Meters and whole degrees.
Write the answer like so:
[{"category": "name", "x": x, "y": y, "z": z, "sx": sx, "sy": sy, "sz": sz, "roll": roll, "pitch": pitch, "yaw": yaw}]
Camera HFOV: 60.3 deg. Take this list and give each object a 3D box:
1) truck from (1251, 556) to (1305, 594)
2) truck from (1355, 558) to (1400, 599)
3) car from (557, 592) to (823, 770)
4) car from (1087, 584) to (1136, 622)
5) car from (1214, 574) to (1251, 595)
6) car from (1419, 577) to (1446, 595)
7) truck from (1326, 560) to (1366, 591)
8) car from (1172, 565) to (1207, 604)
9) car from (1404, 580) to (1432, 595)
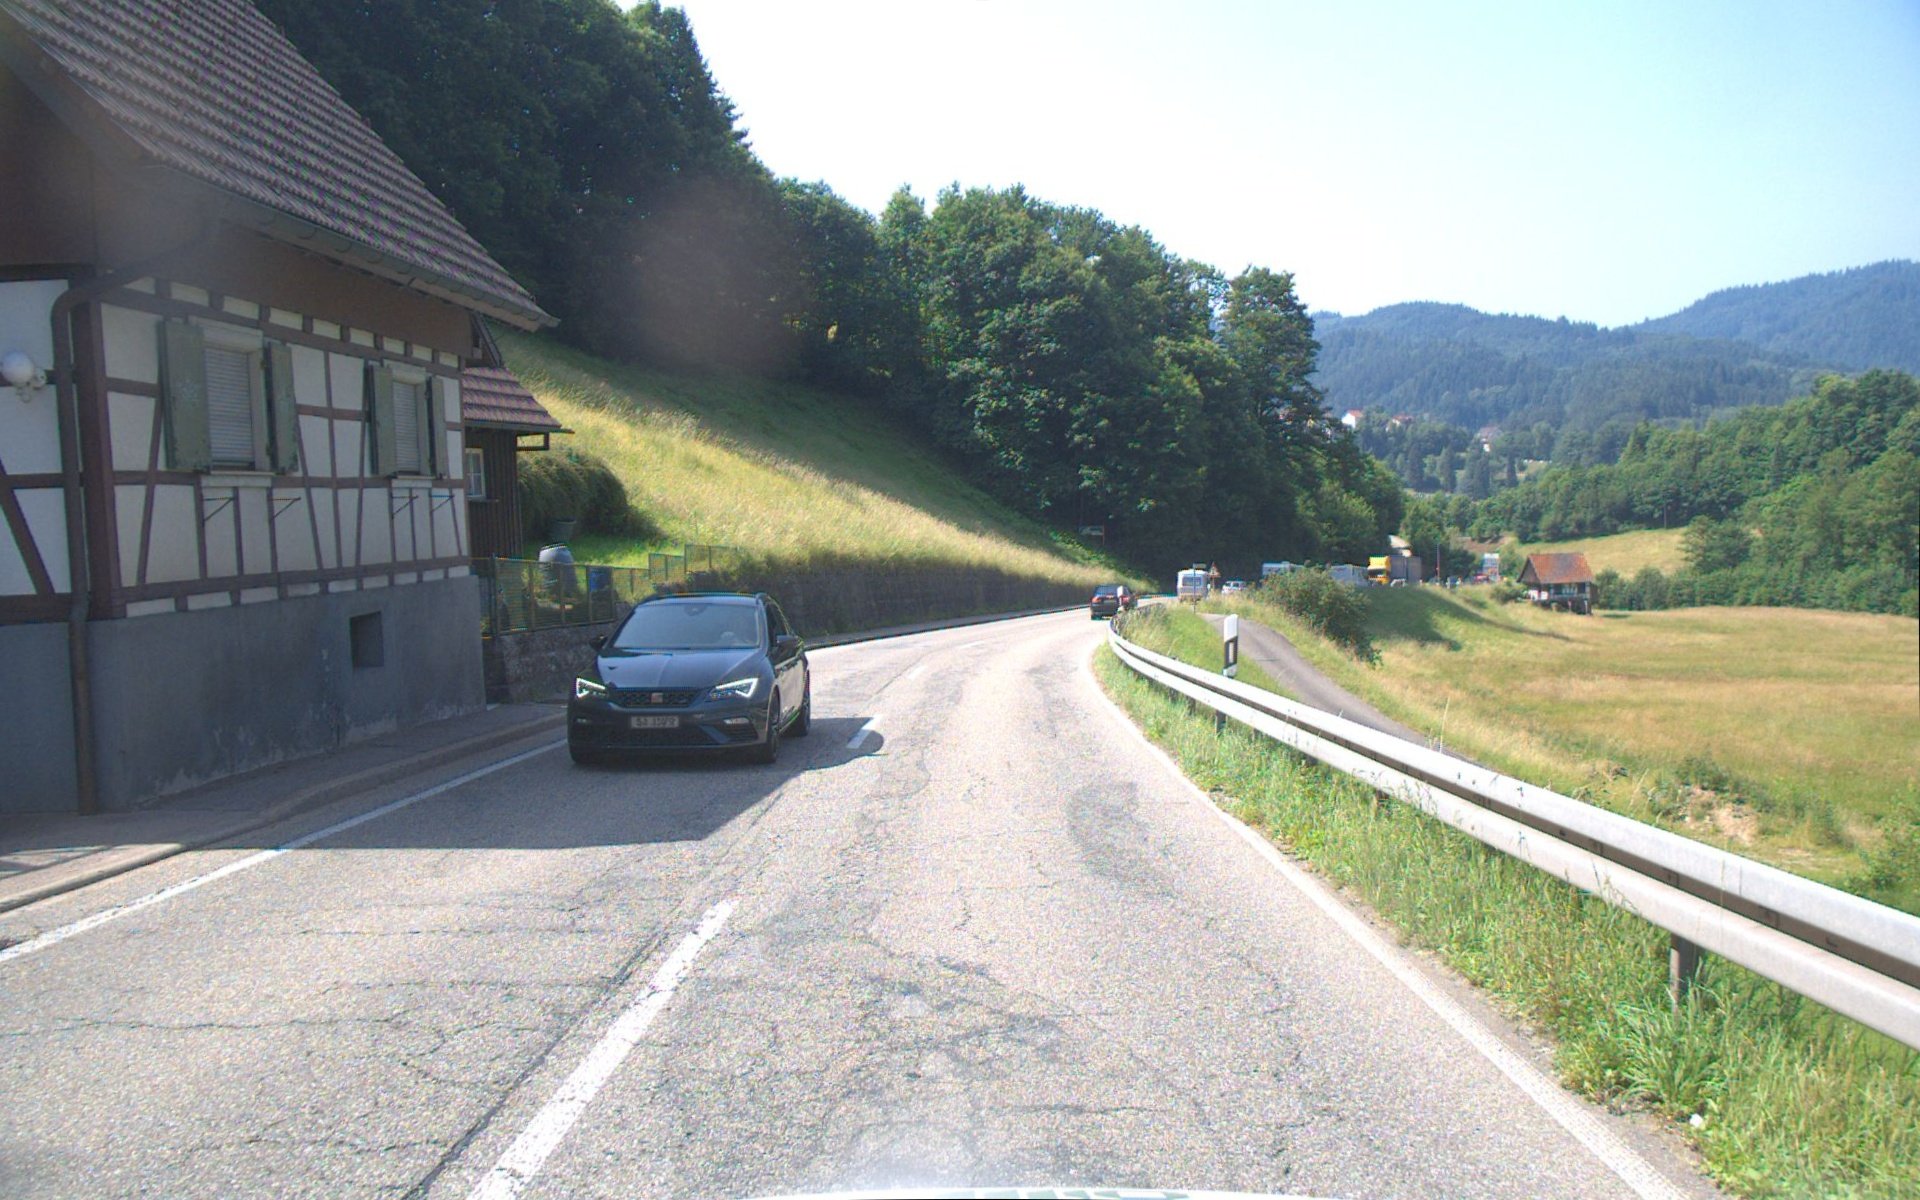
[{"category": "truck", "x": 27.033, "y": -2.171, "z": 140.595, "sx": 2.736, "sy": 3.049, "sz": 6.863, "roll": 3, "pitch": 3, "yaw": 26}, {"category": "truck", "x": 47.408, "y": -2.448, "z": 187.717, "sx": 3.129, "sy": 4.472, "sz": 6.560, "roll": 2, "pitch": 2, "yaw": 30}, {"category": "car", "x": -2.357, "y": 0.647, "z": 15.458, "sx": 1.728, "sy": 1.421, "sz": 4.146, "roll": 0, "pitch": 0, "yaw": 1}, {"category": "car", "x": 6.200, "y": 0.090, "z": 67.580, "sx": 1.733, "sy": 1.358, "sz": 3.771, "roll": 1, "pitch": 2, "yaw": 9}, {"category": "car", "x": 21.038, "y": -1.176, "z": 127.513, "sx": 1.953, "sy": 1.510, "sz": 4.000, "roll": 3, "pitch": 2, "yaw": 21}, {"category": "car", "x": 54.078, "y": -1.630, "z": 189.196, "sx": 1.958, "sy": 1.959, "sz": 3.991, "roll": 3, "pitch": 2, "yaw": 32}, {"category": "truck", "x": 37.460, "y": -2.381, "z": 160.473, "sx": 2.194, "sy": 2.853, "sz": 6.224, "roll": 2, "pitch": 0, "yaw": 28}, {"category": "car", "x": 15.394, "y": -1.065, "z": 110.578, "sx": 1.951, "sy": 2.393, "sz": 4.919, "roll": 1, "pitch": 2, "yaw": 12}, {"category": "car", "x": 49.913, "y": -1.325, "z": 180.157, "sx": 1.872, "sy": 1.511, "sz": 3.992, "roll": 4, "pitch": 2, "yaw": 30}]
